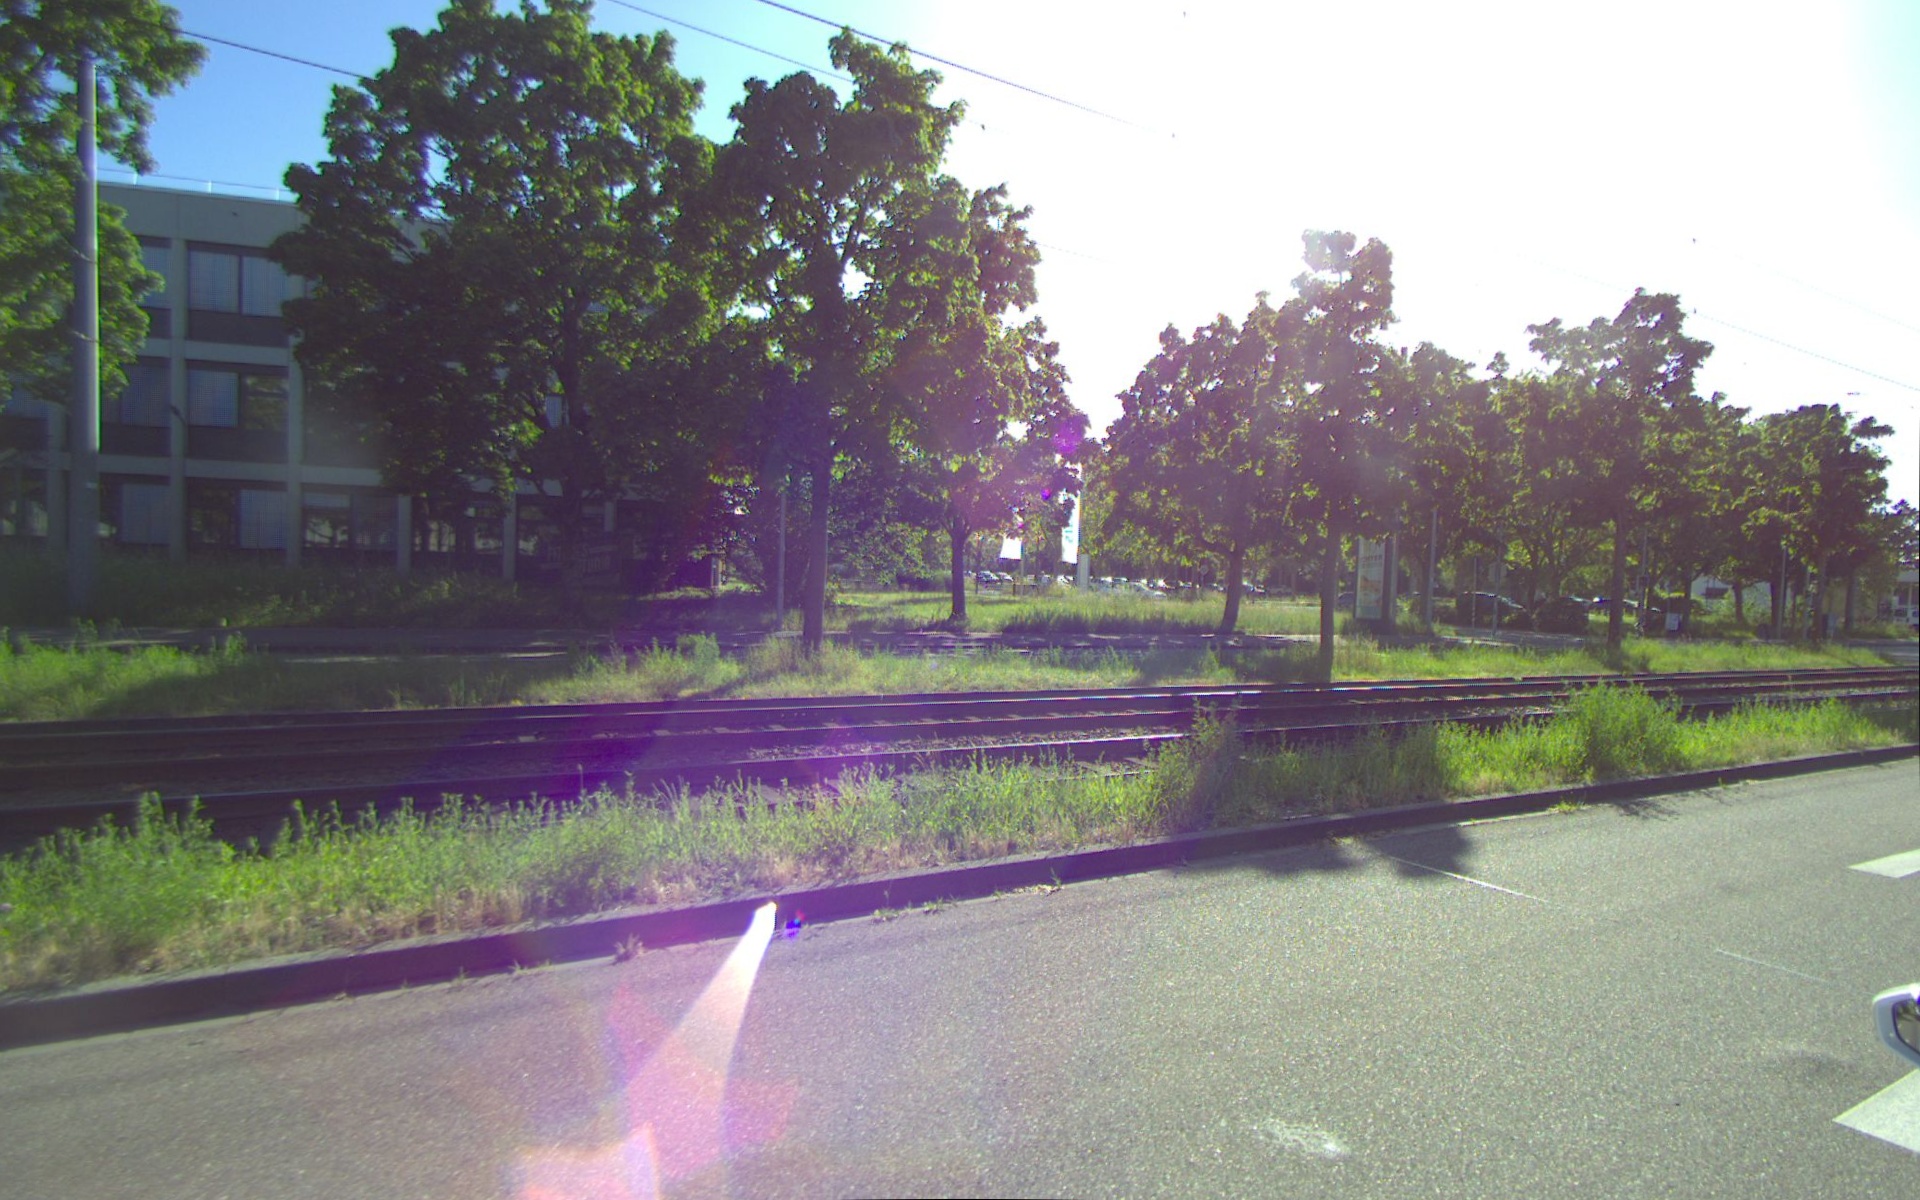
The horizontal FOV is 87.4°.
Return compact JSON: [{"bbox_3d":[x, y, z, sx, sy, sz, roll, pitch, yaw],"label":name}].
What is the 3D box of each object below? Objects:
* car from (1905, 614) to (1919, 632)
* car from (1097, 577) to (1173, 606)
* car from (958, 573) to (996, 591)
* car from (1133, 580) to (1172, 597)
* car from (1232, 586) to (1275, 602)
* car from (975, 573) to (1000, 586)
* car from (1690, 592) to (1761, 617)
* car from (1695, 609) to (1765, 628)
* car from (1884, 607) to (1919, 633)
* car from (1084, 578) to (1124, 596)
[{"bbox_3d":[84.139,2.054,86.035,4.380,1.548,1.793,2,1,7],"label":"car"},{"bbox_3d":[11.237,-0.576,64.537,4.362,1.662,1.982,3,2,39],"label":"car"},{"bbox_3d":[1.728,-1.881,103.997,1.815,1.627,3.955,1,2,-38],"label":"car"},{"bbox_3d":[20.996,-1.233,109.696,1.815,1.690,3.955,1,2,-38],"label":"car"},{"bbox_3d":[29.936,-0.636,102.380,1.729,1.468,3.937,1,2,-35],"label":"car"},{"bbox_3d":[3.745,-2.810,137.267,1.806,1.627,3.975,2,2,-25],"label":"car"},{"bbox_3d":[70.040,0.378,91.981,1.998,2.119,4.695,1,2,-32],"label":"car"},{"bbox_3d":[59.413,1.439,77.537,1.649,1.182,3.938,1,2,-35],"label":"car"},{"bbox_3d":[80.299,1.714,83.630,4.689,2.000,1.861,2,1,7],"label":"car"},{"bbox_3d":[15.323,-1.392,106.918,1.815,1.690,3.955,1,2,-38],"label":"car"}]
